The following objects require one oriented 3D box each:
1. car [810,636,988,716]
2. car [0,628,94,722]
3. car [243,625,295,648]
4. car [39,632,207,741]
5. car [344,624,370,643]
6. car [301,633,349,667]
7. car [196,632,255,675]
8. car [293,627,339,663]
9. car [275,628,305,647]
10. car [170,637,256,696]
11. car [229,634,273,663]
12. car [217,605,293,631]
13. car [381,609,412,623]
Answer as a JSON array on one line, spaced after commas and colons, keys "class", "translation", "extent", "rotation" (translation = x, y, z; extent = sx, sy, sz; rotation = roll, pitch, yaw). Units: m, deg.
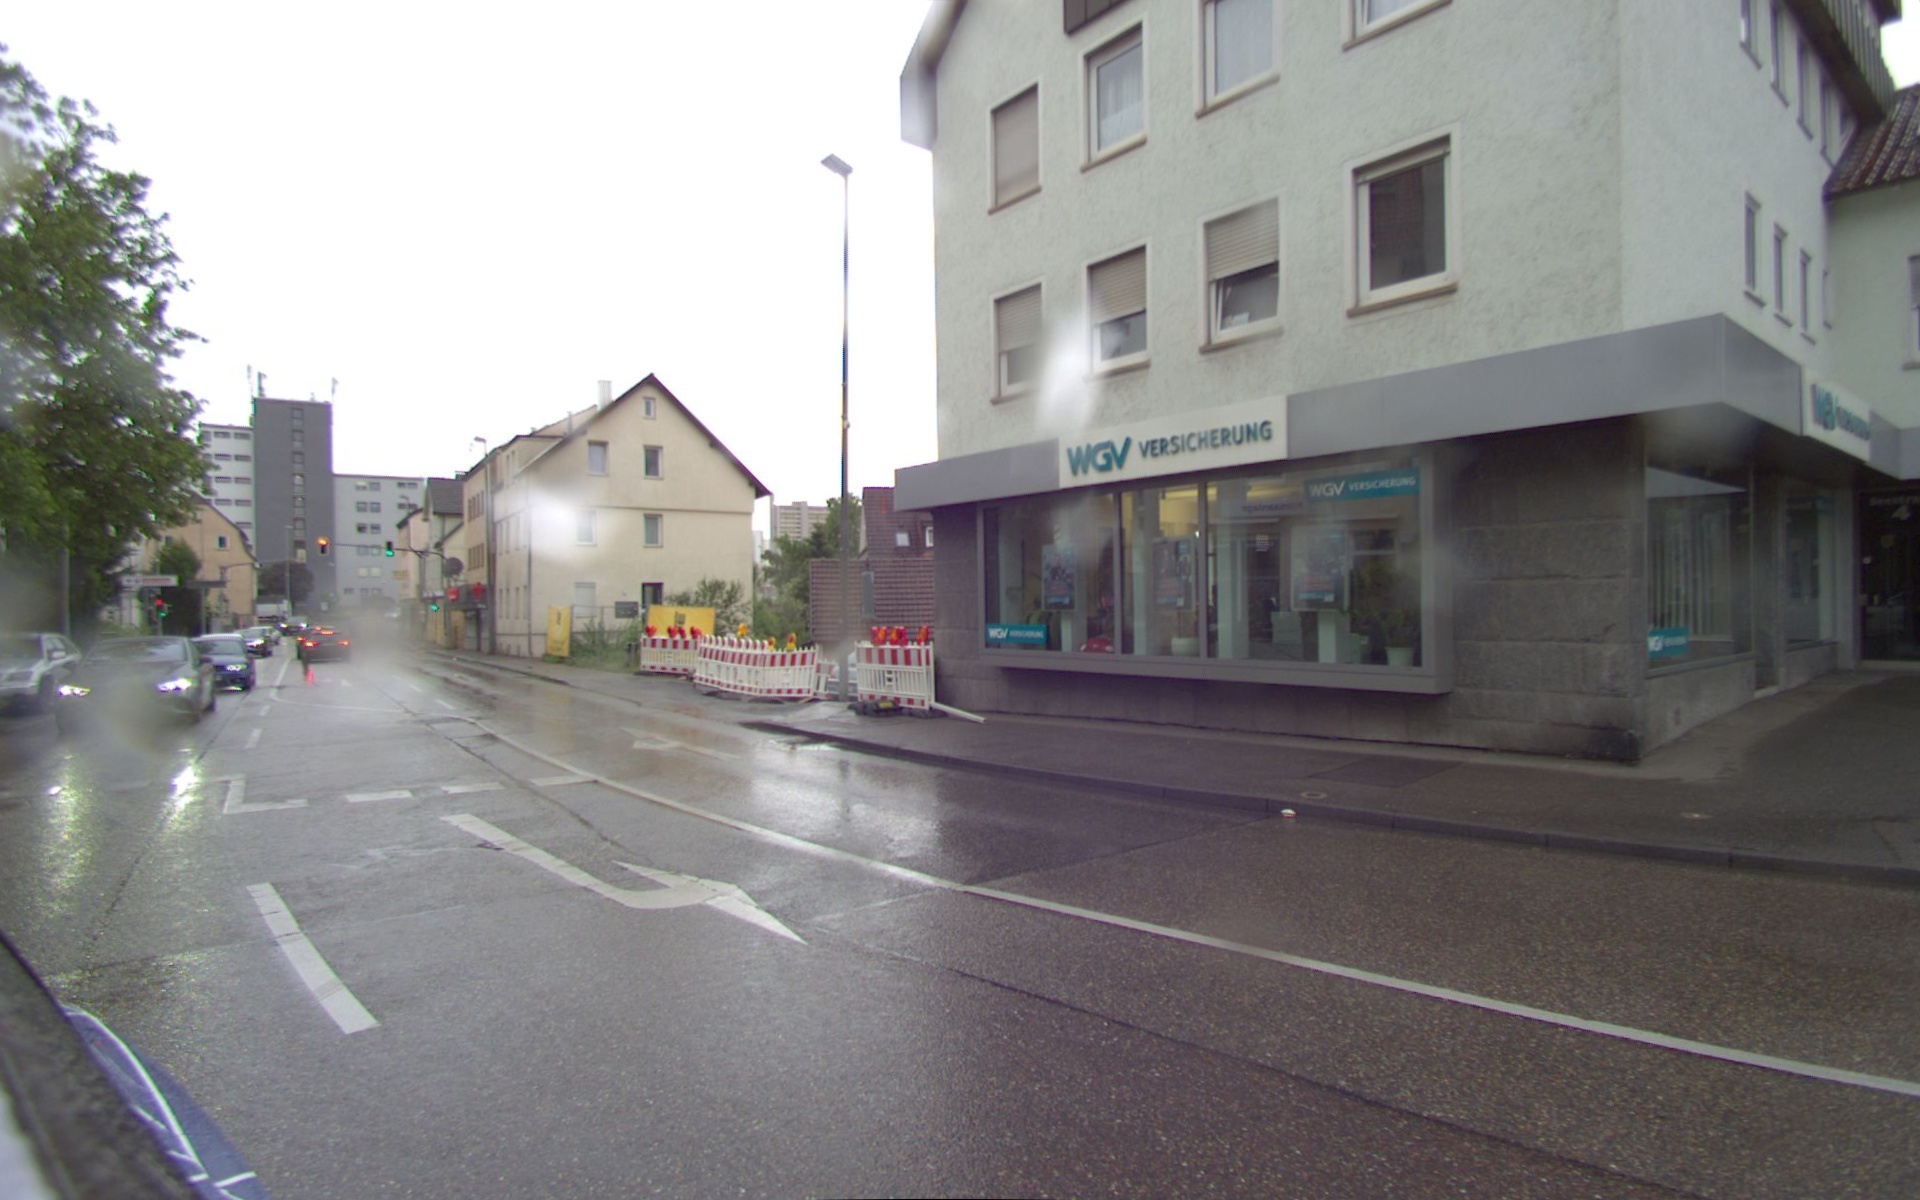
[{"class": "car", "translation": [-1.249, 1.662, 21.525], "extent": [3.457, 1.401, 1.653], "rotation": [10, -10, -42]}, {"class": "car", "translation": [-20.013, 1.514, 21.295], "extent": [1.904, 1.794, 4.747], "rotation": [0, -2, -31]}, {"class": "car", "translation": [-49.553, 2.594, 72.654], "extent": [1.660, 1.472, 4.010], "rotation": [-1, -1, -12]}, {"class": "car", "translation": [-14.425, 1.395, 17.665], "extent": [1.791, 1.583, 4.287], "rotation": [-1, -1, -34]}, {"class": "car", "translation": [-51.424, 2.847, 86.271], "extent": [1.791, 1.583, 4.287], "rotation": [0, -2, -32]}, {"class": "car", "translation": [-28.468, 2.214, 45.314], "extent": [1.684, 1.394, 3.679], "rotation": [-1, -1, -34]}, {"class": "car", "translation": [-26.716, 1.908, 36.829], "extent": [1.660, 1.432, 4.009], "rotation": [-1, -1, -36]}, {"class": "car", "translation": [-32.271, 2.253, 50.659], "extent": [1.791, 1.657, 4.286], "rotation": [-1, -1, -34]}, {"class": "car", "translation": [-58.482, 3.264, 88.337], "extent": [1.524, 1.545, 3.700], "rotation": [-2, -1, -23]}, {"class": "car", "translation": [-19.942, 1.715, 27.136], "extent": [1.615, 1.443, 3.815], "rotation": [1, -2, -33]}, {"class": "car", "translation": [-38.352, 2.604, 54.807], "extent": [1.659, 1.472, 4.012], "rotation": [-1, -1, -31]}, {"class": "car", "translation": [-77.268, 1.969, 111.031], "extent": [6.313, 2.539, 2.684], "rotation": [-3, 0, -16]}, {"class": "car", "translation": [-64.246, 1.802, 115.424], "extent": [1.592, 1.515, 3.721], "rotation": [-2, 0, -4]}]
